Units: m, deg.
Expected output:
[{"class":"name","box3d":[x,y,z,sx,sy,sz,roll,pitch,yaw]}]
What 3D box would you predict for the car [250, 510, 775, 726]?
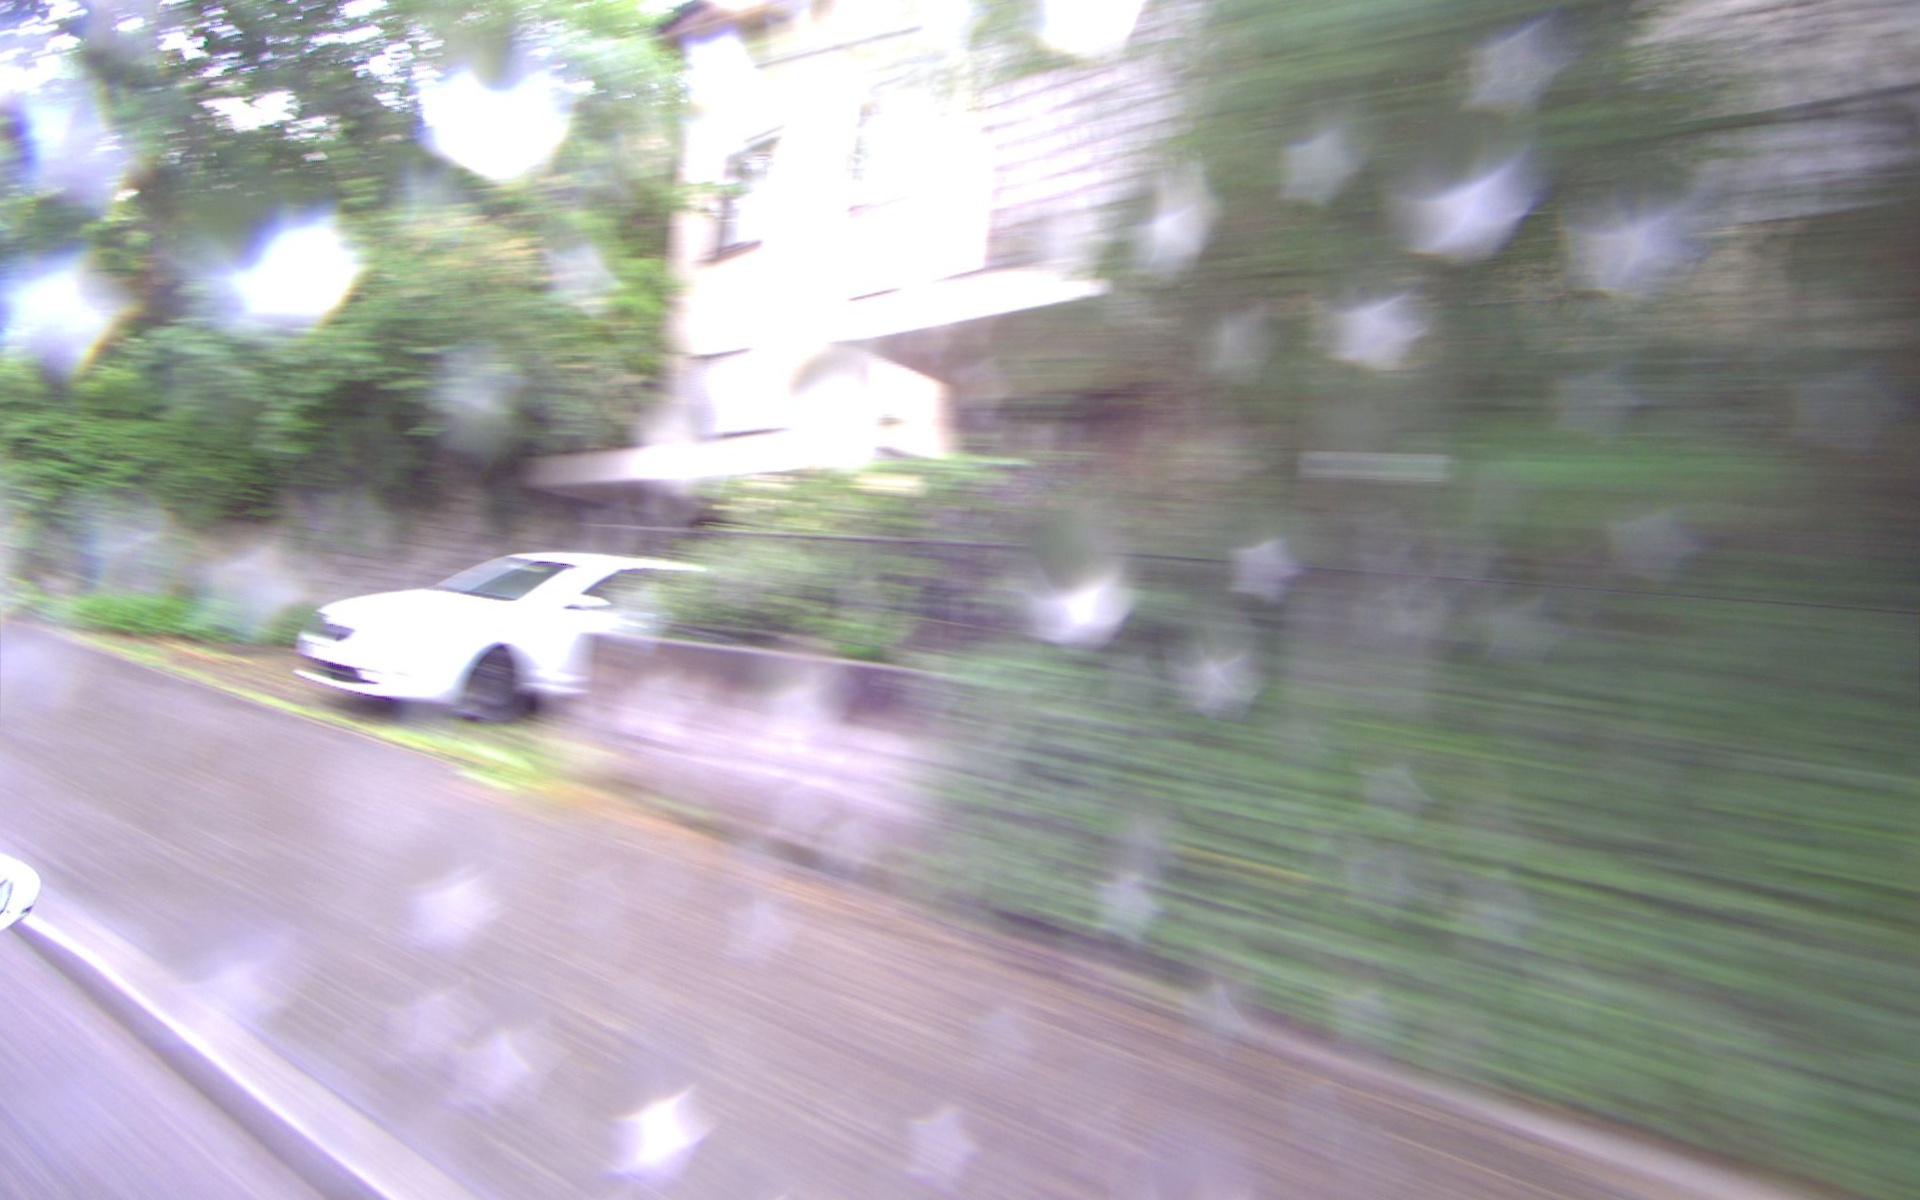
[{"class":"car","box3d":[-3.965,0.213,9.607,1.874,1.495,4.145,7,1,33]}]
